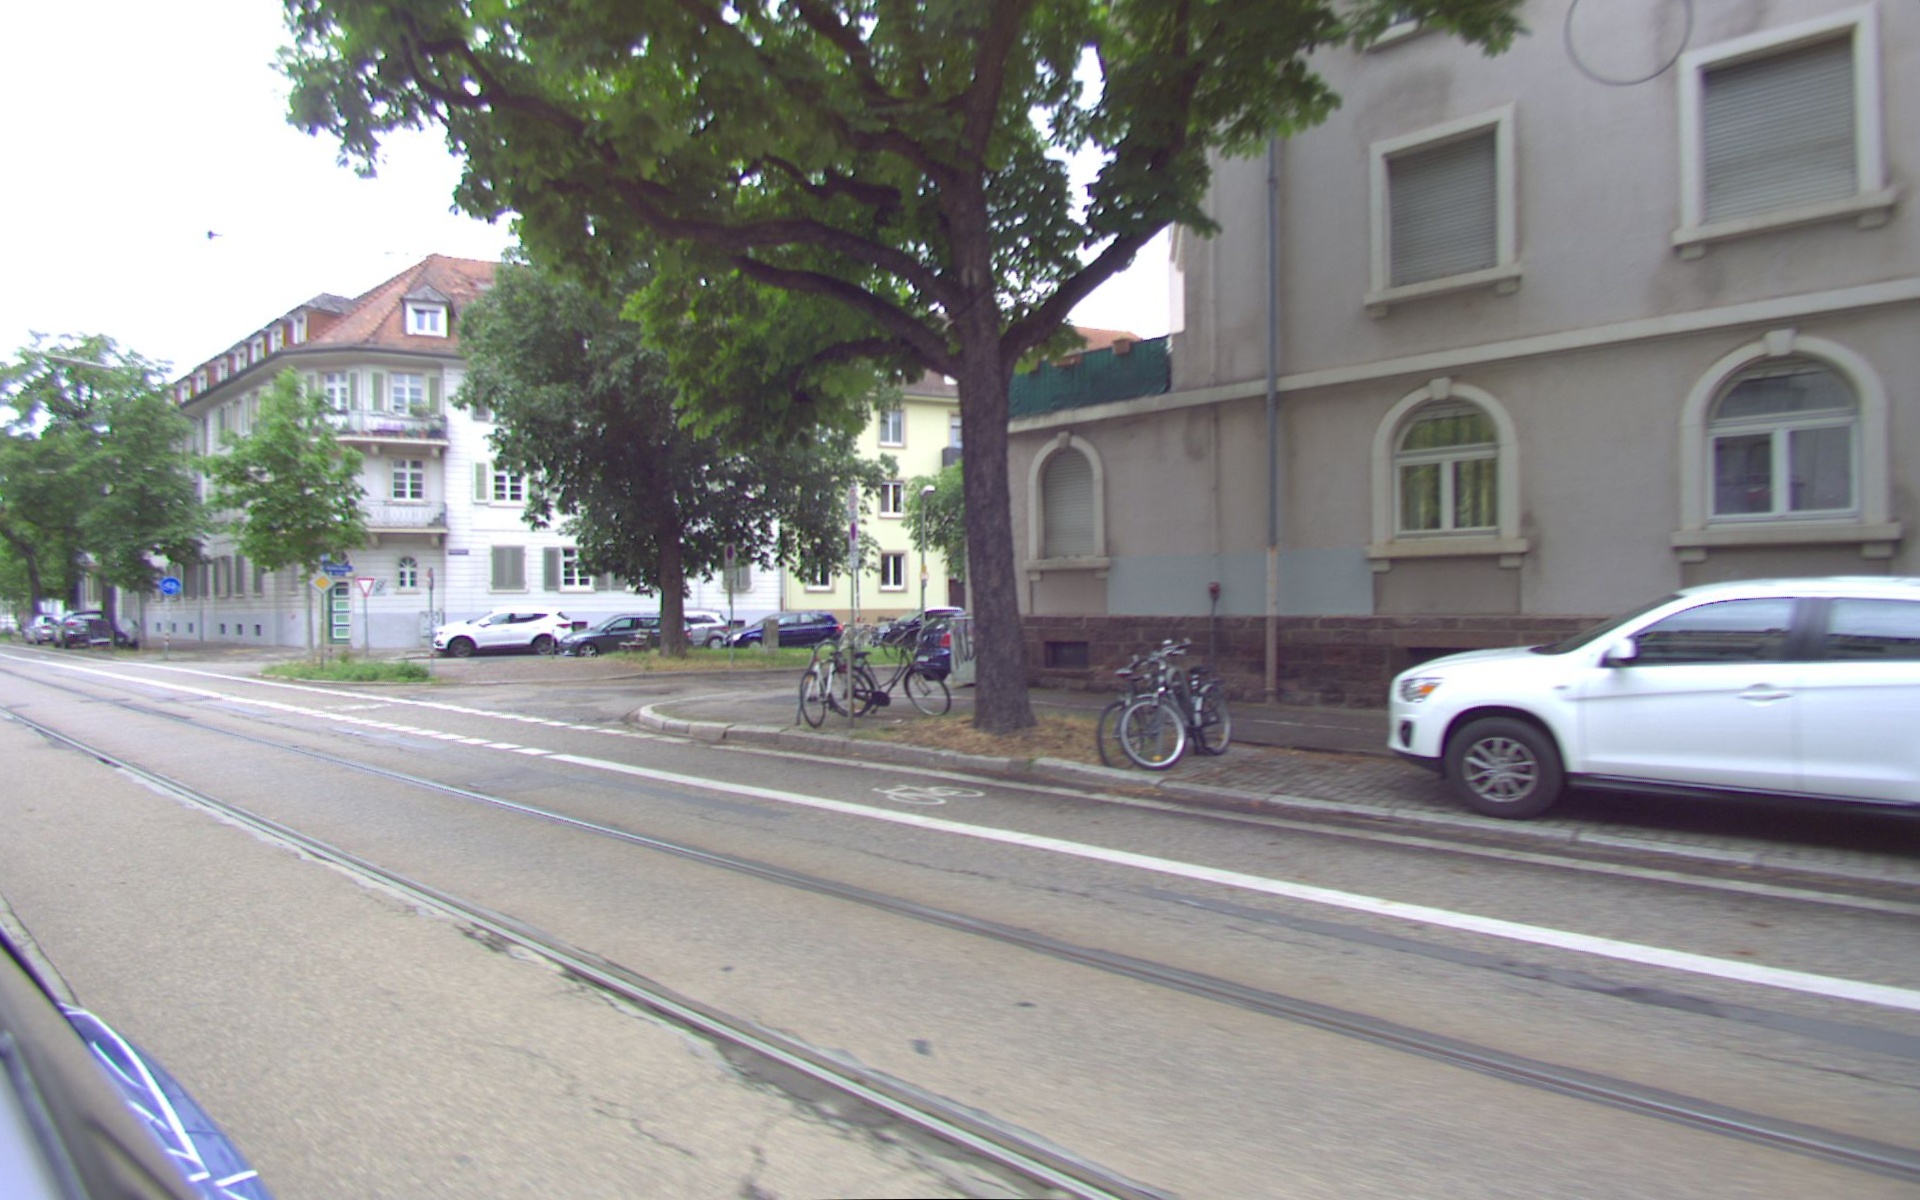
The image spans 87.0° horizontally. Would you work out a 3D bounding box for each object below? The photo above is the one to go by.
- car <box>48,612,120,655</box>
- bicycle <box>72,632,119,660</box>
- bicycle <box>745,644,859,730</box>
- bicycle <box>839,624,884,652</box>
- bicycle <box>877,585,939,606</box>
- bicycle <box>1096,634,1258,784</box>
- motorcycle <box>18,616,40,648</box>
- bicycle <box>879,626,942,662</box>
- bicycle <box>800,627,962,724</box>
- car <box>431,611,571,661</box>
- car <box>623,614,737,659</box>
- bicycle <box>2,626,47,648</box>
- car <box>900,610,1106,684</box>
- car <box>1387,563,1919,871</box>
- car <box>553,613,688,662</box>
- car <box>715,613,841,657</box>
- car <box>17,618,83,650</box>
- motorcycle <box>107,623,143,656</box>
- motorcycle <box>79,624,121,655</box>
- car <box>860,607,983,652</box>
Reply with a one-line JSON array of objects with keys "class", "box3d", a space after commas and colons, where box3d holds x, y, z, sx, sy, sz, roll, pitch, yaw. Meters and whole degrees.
[{"class": "car", "box3d": [-38.638, 1.456, 44.589, 4.292, 1.673, 1.818, -1, 1, 42]}, {"class": "bicycle", "box3d": [-35.499, 1.864, 41.547, 0.930, 1.012, 1.361, -1, 2, 45]}, {"class": "bicycle", "box3d": [-1.925, 1.028, 12.262, 1.393, 0.965, 0.479, -1, -1, 33]}, {"class": "bicycle", "box3d": [-3.277, 1.250, 33.677, 1.371, 0.903, 0.582, 0, -1, -22]}, {"class": "bicycle", "box3d": [-2.341, -0.197, 45.575, 2.620, 0.908, 0.822, -1, 2, -23]}, {"class": "bicycle", "box3d": [2.037, 0.934, 9.300, 0.623, 1.129, 1.903, -1, 1, 40]}, {"class": "motorcycle", "box3d": [-50.460, 1.727, 54.866, 0.822, 1.655, 2.483, 0, -1, -41]}, {"class": "bicycle", "box3d": [-1.352, 1.193, 27.539, 1.645, 0.932, 0.450, -1, -2, -22]}, {"class": "bicycle", "box3d": [-1.001, 0.936, 12.707, 1.925, 1.144, 0.671, -2, -2, 24]}, {"class": "car", "box3d": [-16.424, 1.253, 36.347, 4.438, 1.675, 1.945, -1, -1, -24]}, {"class": "car", "box3d": [-10.687, 1.349, 38.646, 3.978, 1.524, 1.744, -1, 0, -23]}, {"class": "bicycle", "box3d": [-52.148, 2.064, 56.431, 1.718, 1.137, 0.519, -3, 0, -32]}, {"class": "car", "box3d": [0.853, 0.882, 20.138, 3.696, 1.317, 1.747, 0, -1, -26]}, {"class": "car", "box3d": [5.288, 0.633, 6.636, 4.221, 1.668, 1.878, -1, 0, 40]}, {"class": "car", "box3d": [-10.950, 1.179, 32.705, 4.000, 1.421, 1.667, -1, 0, -21]}, {"class": "car", "box3d": [-6.253, 1.164, 34.765, 3.940, 1.356, 1.671, -1, 0, -23]}, {"class": "car", "box3d": [-44.953, 1.662, 49.947, 4.610, 1.477, 1.793, -1, 0, 40]}, {"class": "motorcycle", "box3d": [-32.979, 1.546, 39.979, 2.137, 1.267, 0.535, -1, -1, 34]}, {"class": "motorcycle", "box3d": [-35.961, 1.656, 42.327, 1.270, 1.231, 0.548, -2, 0, -43]}, {"class": "car", "box3d": [-1.401, 1.040, 36.901, 4.117, 1.491, 1.708, -1, 0, -23]}]
